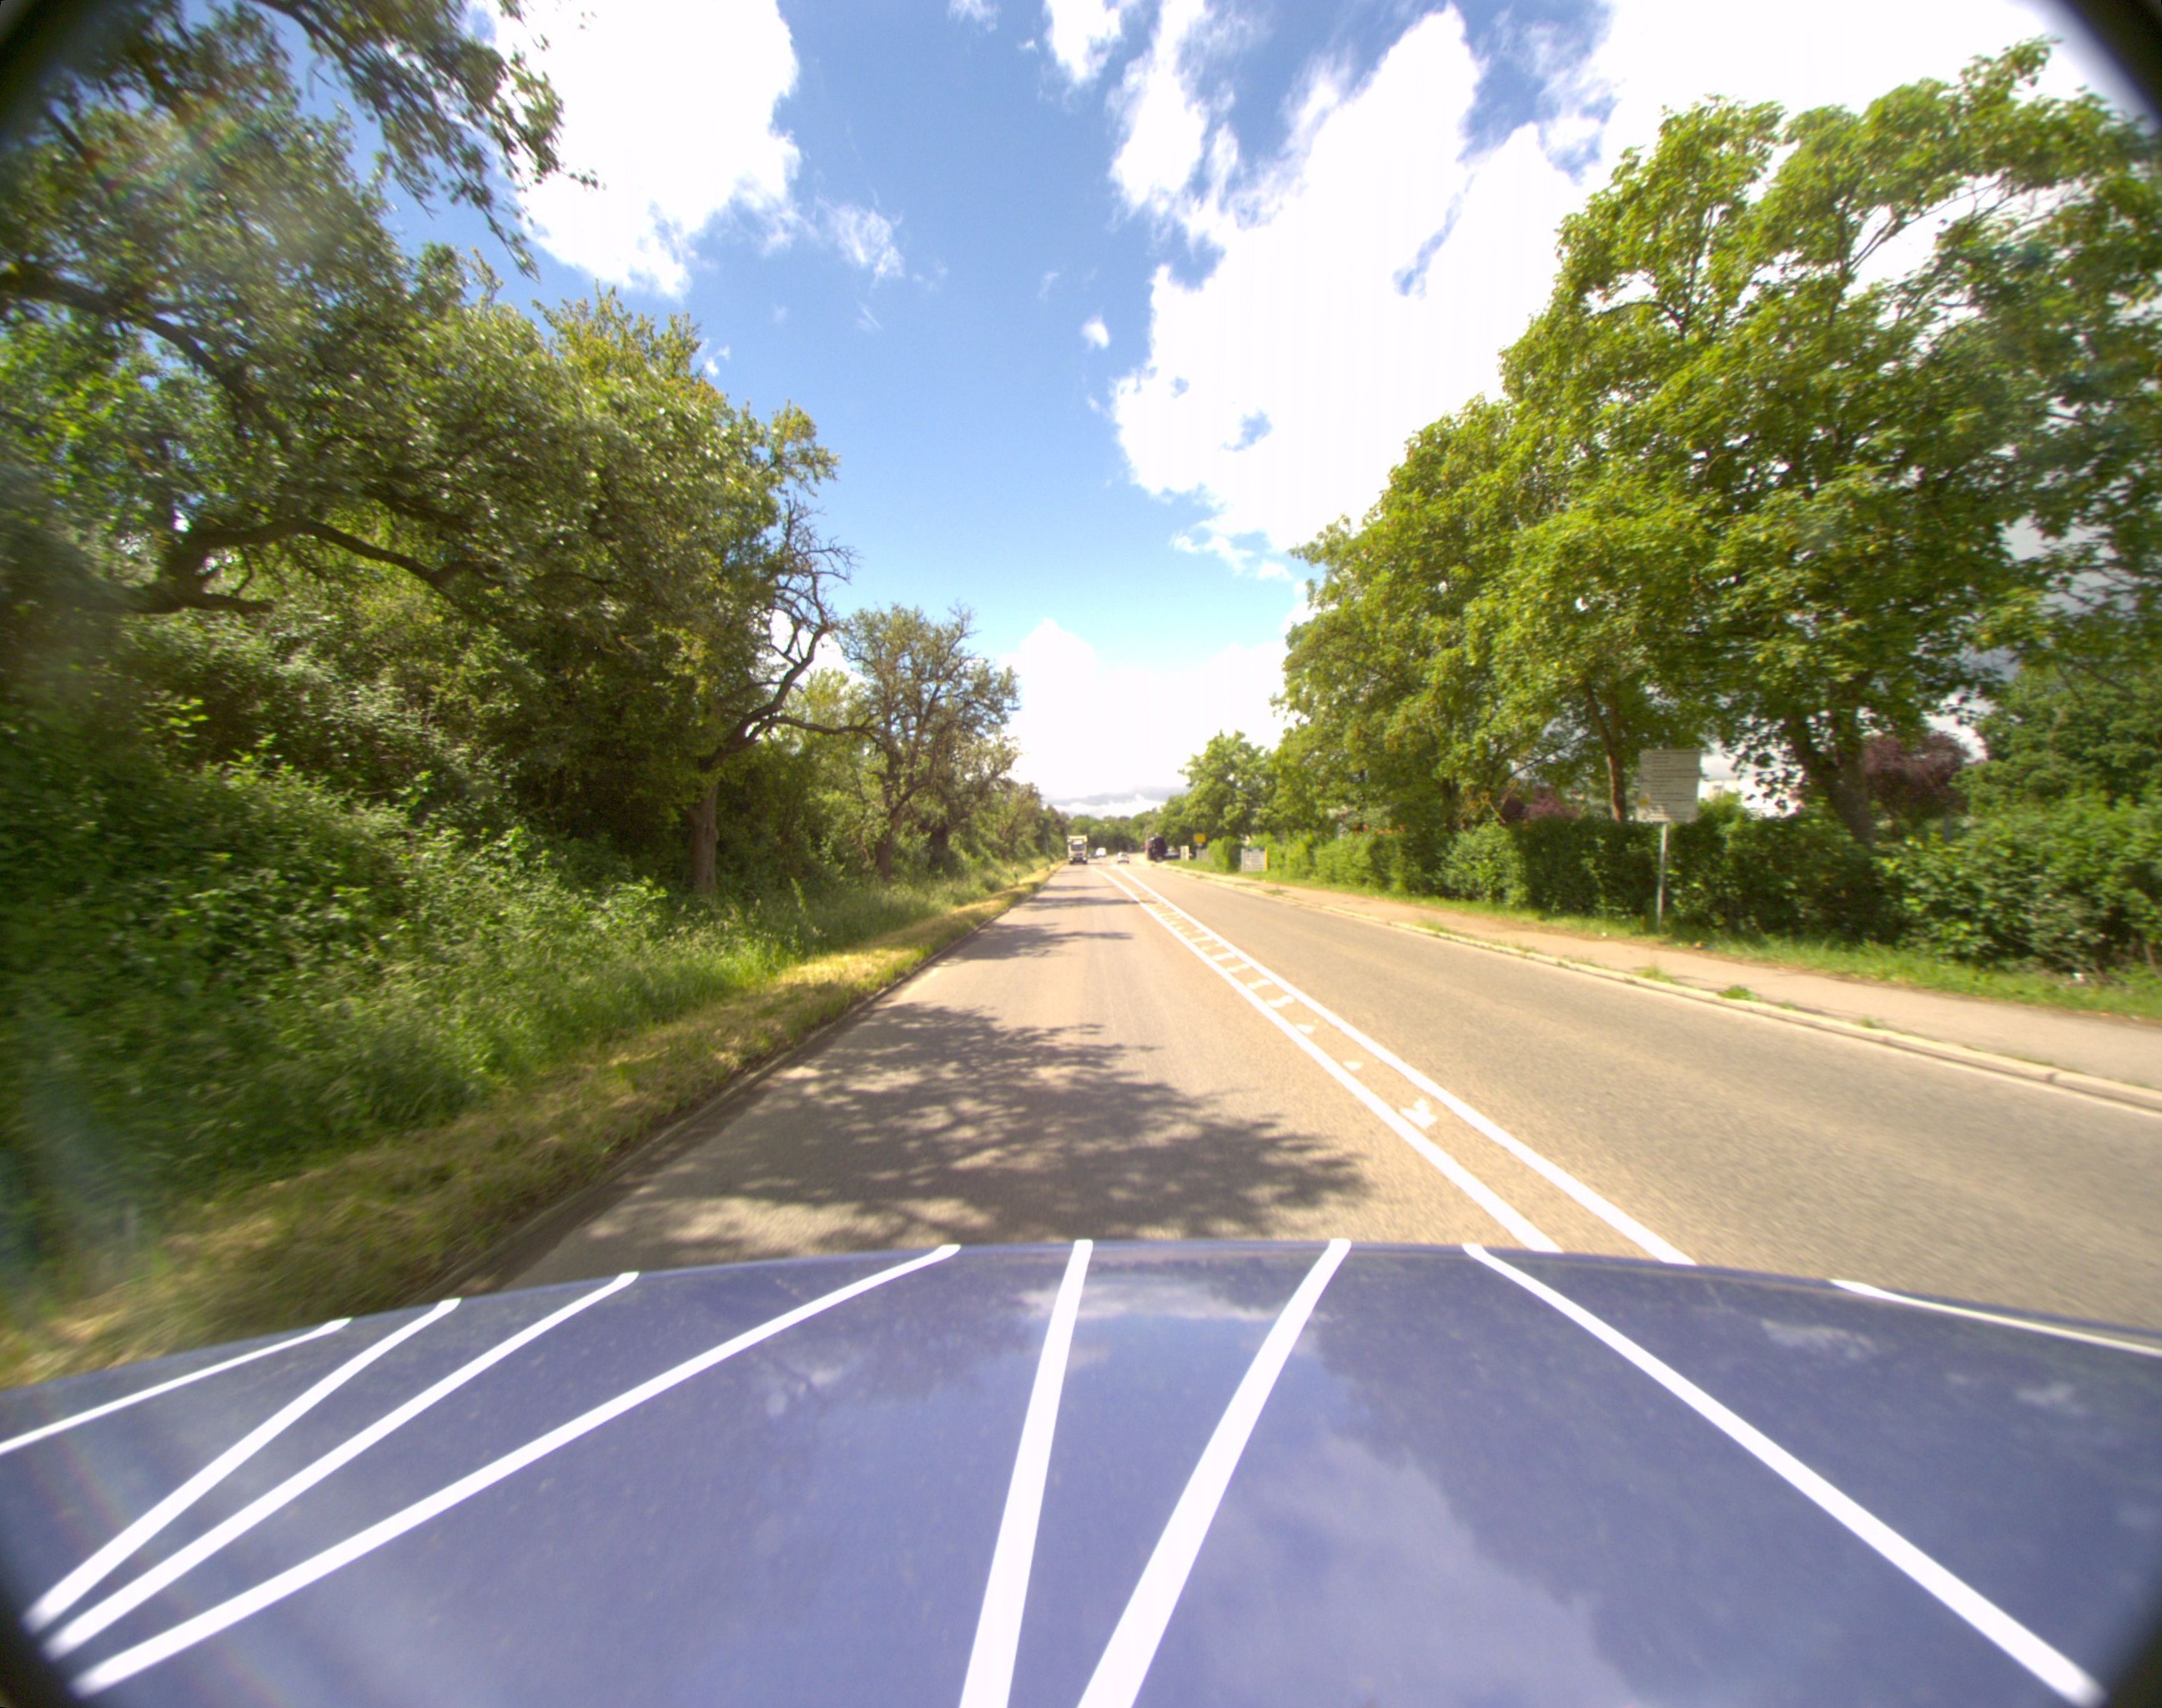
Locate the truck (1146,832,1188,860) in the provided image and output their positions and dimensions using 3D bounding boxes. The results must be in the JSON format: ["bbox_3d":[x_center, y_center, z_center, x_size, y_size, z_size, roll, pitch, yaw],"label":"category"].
[{"bbox_3d":[12.169,-1.139,107.852,5.570,3.802,2.983,-1,1,-3],"label":"truck"}]

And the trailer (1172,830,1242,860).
[{"bbox_3d":[18.049,-1.283,108.969,9.471,4.060,3.315,-1,1,-14],"label":"trailer"}]

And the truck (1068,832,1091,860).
[{"bbox_3d":[-0.145,-1.115,104.646,2.904,3.746,9.634,-1,1,1],"label":"truck"}]

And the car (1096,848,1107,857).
[{"bbox_3d":[4.452,-0.293,163.630,1.953,2.002,4.002,0,1,8],"label":"car"}]

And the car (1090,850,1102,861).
[{"bbox_3d":[2.821,0.204,143.708,1.953,2.002,4.001,0,1,4],"label":"car"}]

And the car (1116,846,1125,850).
[{"bbox_3d":[12.289,-1.893,234.812,1.997,1.442,4.430,1,1,11],"label":"car"}]

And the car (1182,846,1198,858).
[{"bbox_3d":[16.622,-0.265,115.842,1.935,1.711,4.600,-1,0,2],"label":"car"}]
